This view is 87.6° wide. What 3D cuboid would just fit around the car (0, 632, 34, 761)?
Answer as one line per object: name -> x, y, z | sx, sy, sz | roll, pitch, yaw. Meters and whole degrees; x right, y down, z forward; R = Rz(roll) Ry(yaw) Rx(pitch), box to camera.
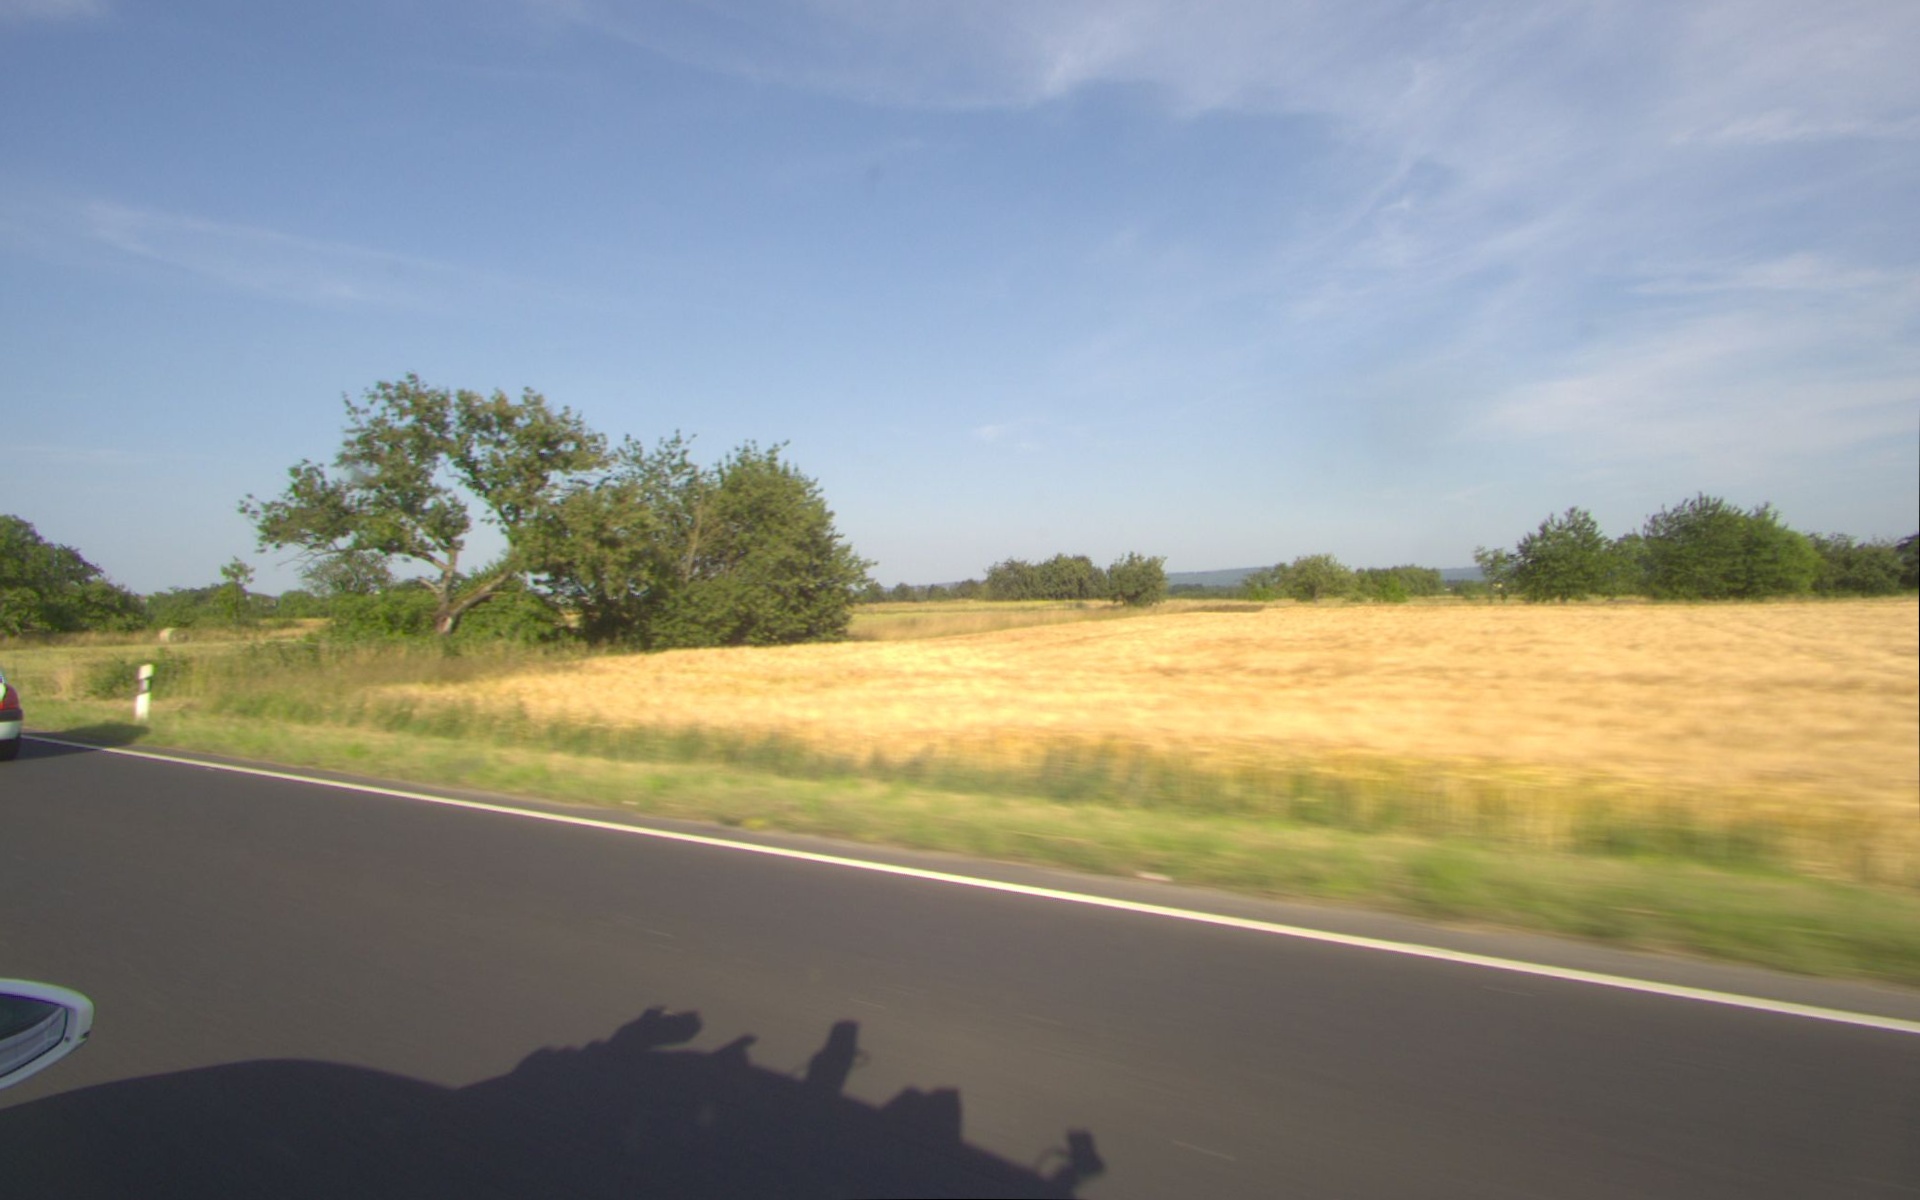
car -> -12.414, 1.097, 11.535 | 3.895, 1.405, 1.614 | -2, -2, 32
